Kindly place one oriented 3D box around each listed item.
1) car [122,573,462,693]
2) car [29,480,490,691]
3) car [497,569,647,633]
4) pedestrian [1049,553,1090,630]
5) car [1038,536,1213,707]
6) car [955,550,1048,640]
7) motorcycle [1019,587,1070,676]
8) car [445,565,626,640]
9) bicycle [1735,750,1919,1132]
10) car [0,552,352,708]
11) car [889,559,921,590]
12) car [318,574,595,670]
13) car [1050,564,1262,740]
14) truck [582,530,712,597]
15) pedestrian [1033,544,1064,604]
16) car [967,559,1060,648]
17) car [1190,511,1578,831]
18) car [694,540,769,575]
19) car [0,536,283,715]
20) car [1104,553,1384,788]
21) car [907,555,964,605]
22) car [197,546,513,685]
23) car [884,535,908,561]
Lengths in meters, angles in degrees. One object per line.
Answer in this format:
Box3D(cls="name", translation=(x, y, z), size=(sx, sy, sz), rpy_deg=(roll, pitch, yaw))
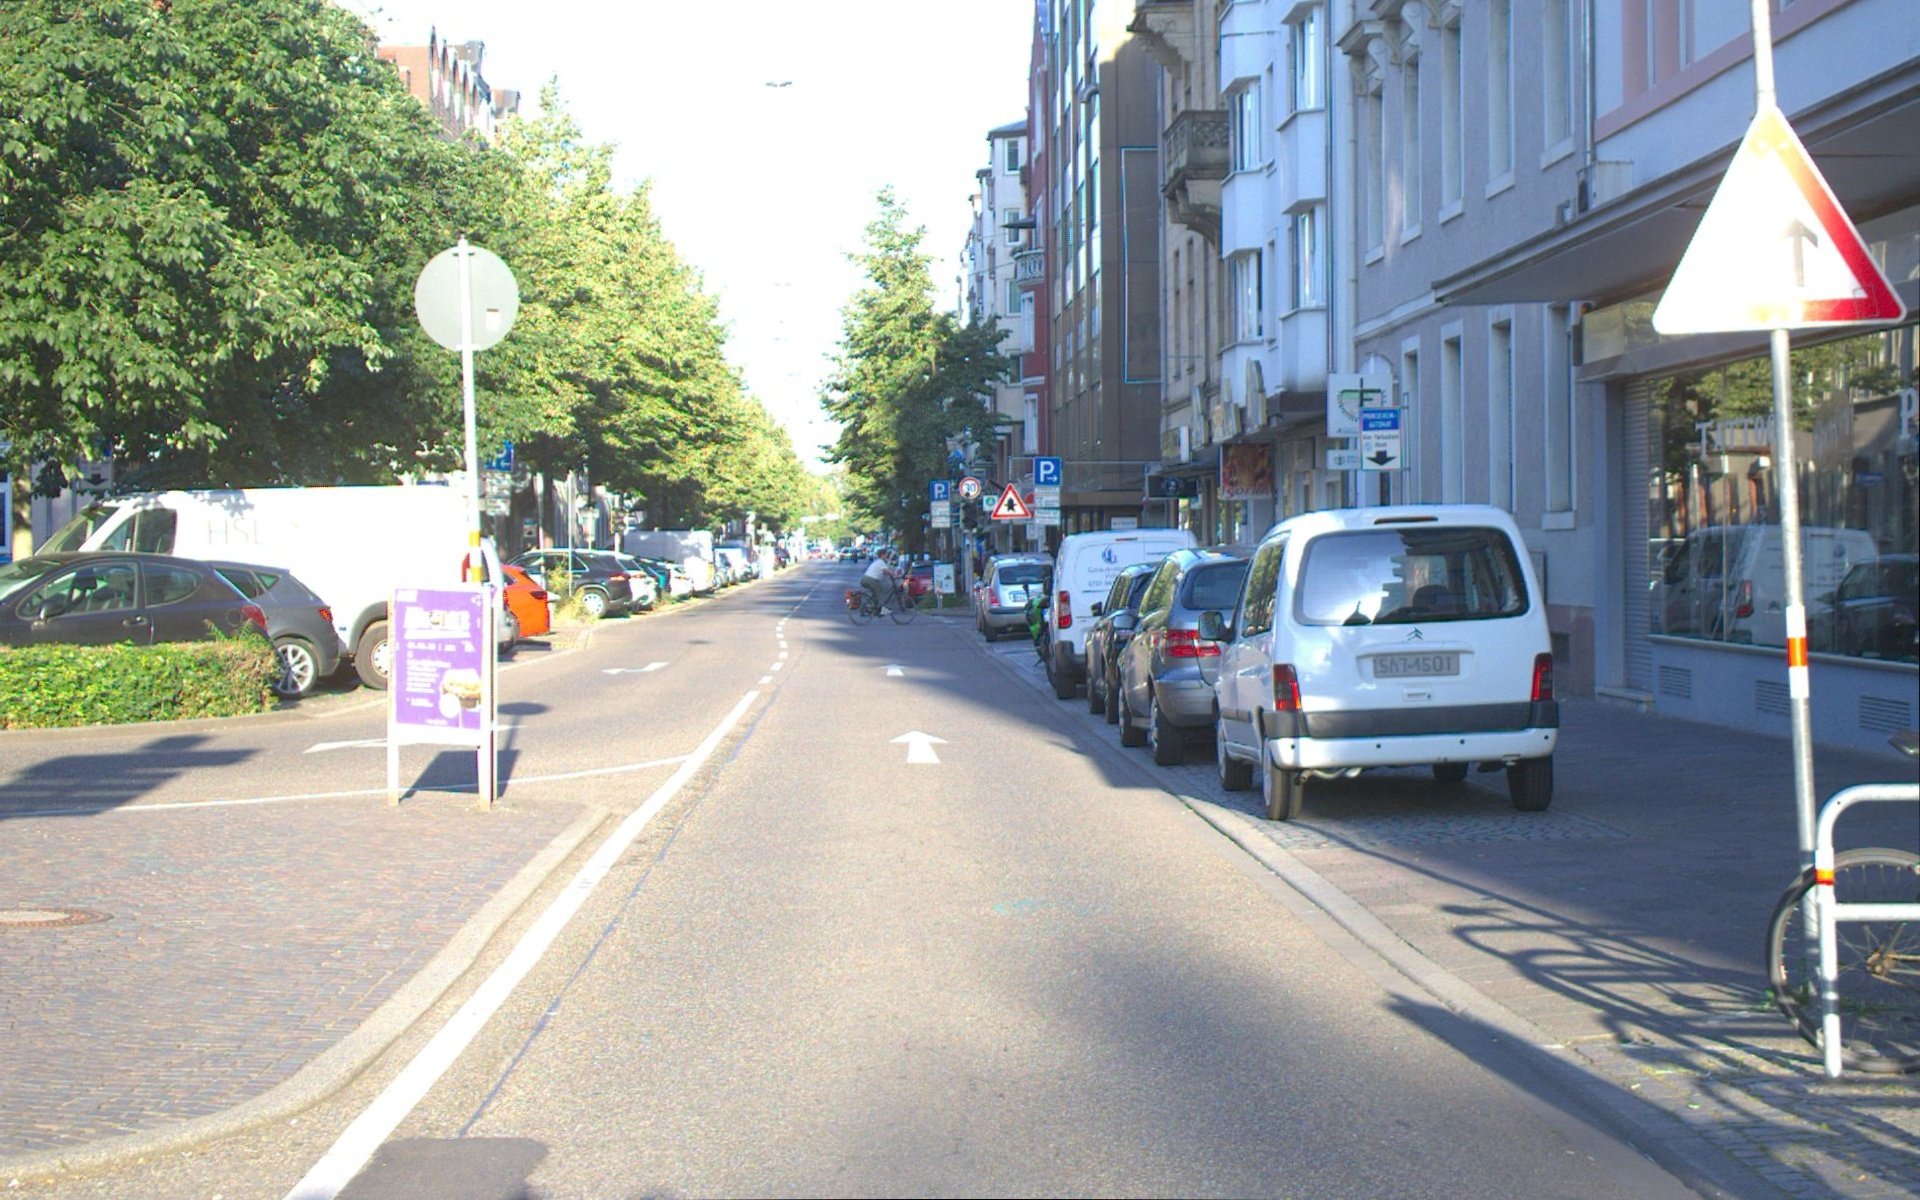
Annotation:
Box3D(cls="car", translation=(-8.769, 0.426, 45.268), size=(3.988, 1.487, 1.849), rpy_deg=(1, 1, -40))
Box3D(cls="car", translation=(-7.841, -0.148, 38.532), size=(4.598, 2.243, 2.203), rpy_deg=(1, 0, -28))
Box3D(cls="car", translation=(-10.758, 0.026, 95.524), size=(3.989, 1.702, 1.833), rpy_deg=(1, 1, -2))
Box3D(cls="pedestrian", translation=(2.348, -0.193, 73.766), size=(0.755, 1.635, 1.259), rpy_deg=(1, 1, -2))
Box3D(cls="car", translation=(1.834, 0.192, 39.319), size=(1.710, 1.829, 4.306), rpy_deg=(1, 1, -1))
Box3D(cls="car", translation=(0.827, -0.123, 70.520), size=(1.696, 1.763, 4.001), rpy_deg=(-1, 1, -2))
Box3D(cls="motorcycle", translation=(1.192, 0.437, 48.752), size=(0.588, 1.196, 2.210), rpy_deg=(0, 1, -2))
Box3D(cls="car", translation=(-10.906, 0.045, 88.545), size=(4.448, 1.829, 2.034), rpy_deg=(1, 1, -2))
Box3D(cls="bicycle", translation=(3.083, 0.918, 9.380), size=(1.789, 0.986, 0.541), rpy_deg=(-2, 2, 21))
Box3D(cls="car", translation=(-8.371, 0.268, 34.795), size=(3.988, 1.481, 1.832), rpy_deg=(0, 1, -41))
Box3D(cls="car", translation=(-2.317, -1.055, 144.407), size=(1.206, 1.296, 2.661), rpy_deg=(0, 0, -4))
Box3D(cls="car", translation=(-8.176, 0.327, 55.860), size=(3.987, 1.480, 2.000), rpy_deg=(-1, 1, -31))
Box3D(cls="car", translation=(1.824, 0.449, 33.001), size=(1.667, 1.539, 3.883), rpy_deg=(1, 1, -2))
Box3D(cls="truck", translation=(-12.247, -1.427, 134.815), size=(4.940, 2.606, 2.000), rpy_deg=(0, 0, -2))
Box3D(cls="pedestrian", translation=(2.471, -0.731, 96.444), size=(0.765, 1.683, 0.786), rpy_deg=(-1, 1, -4))
Box3D(cls="car", translation=(1.014, 0.042, 65.518), size=(1.680, 1.556, 4.000), rpy_deg=(-2, 1, 1))
Box3D(cls="car", translation=(2.513, 0.376, 21.309), size=(1.792, 1.785, 4.092), rpy_deg=(0, 1, -2))
Box3D(cls="car", translation=(-11.593, -2.171, 174.450), size=(3.739, 1.702, 2.000), rpy_deg=(1, 1, -2))
Box3D(cls="car", translation=(-8.380, 0.201, 31.561), size=(3.873, 1.577, 1.802), rpy_deg=(-1, 1, -41))
Box3D(cls="car", translation=(2.126, 0.480, 26.775), size=(1.656, 1.659, 4.108), rpy_deg=(1, 1, -2))
Box3D(cls="car", translation=(-0.813, -0.649, 112.426), size=(1.576, 1.537, 3.397), rpy_deg=(-2, 0, -4))
Box3D(cls="car", translation=(-8.561, 0.199, 48.748), size=(3.988, 1.872, 1.871), rpy_deg=(0, 1, -37))
Box3D(cls="car", translation=(-4.013, -3.235, 215.229), size=(1.308, 1.594, 2.661), rpy_deg=(1, 0, -4))
